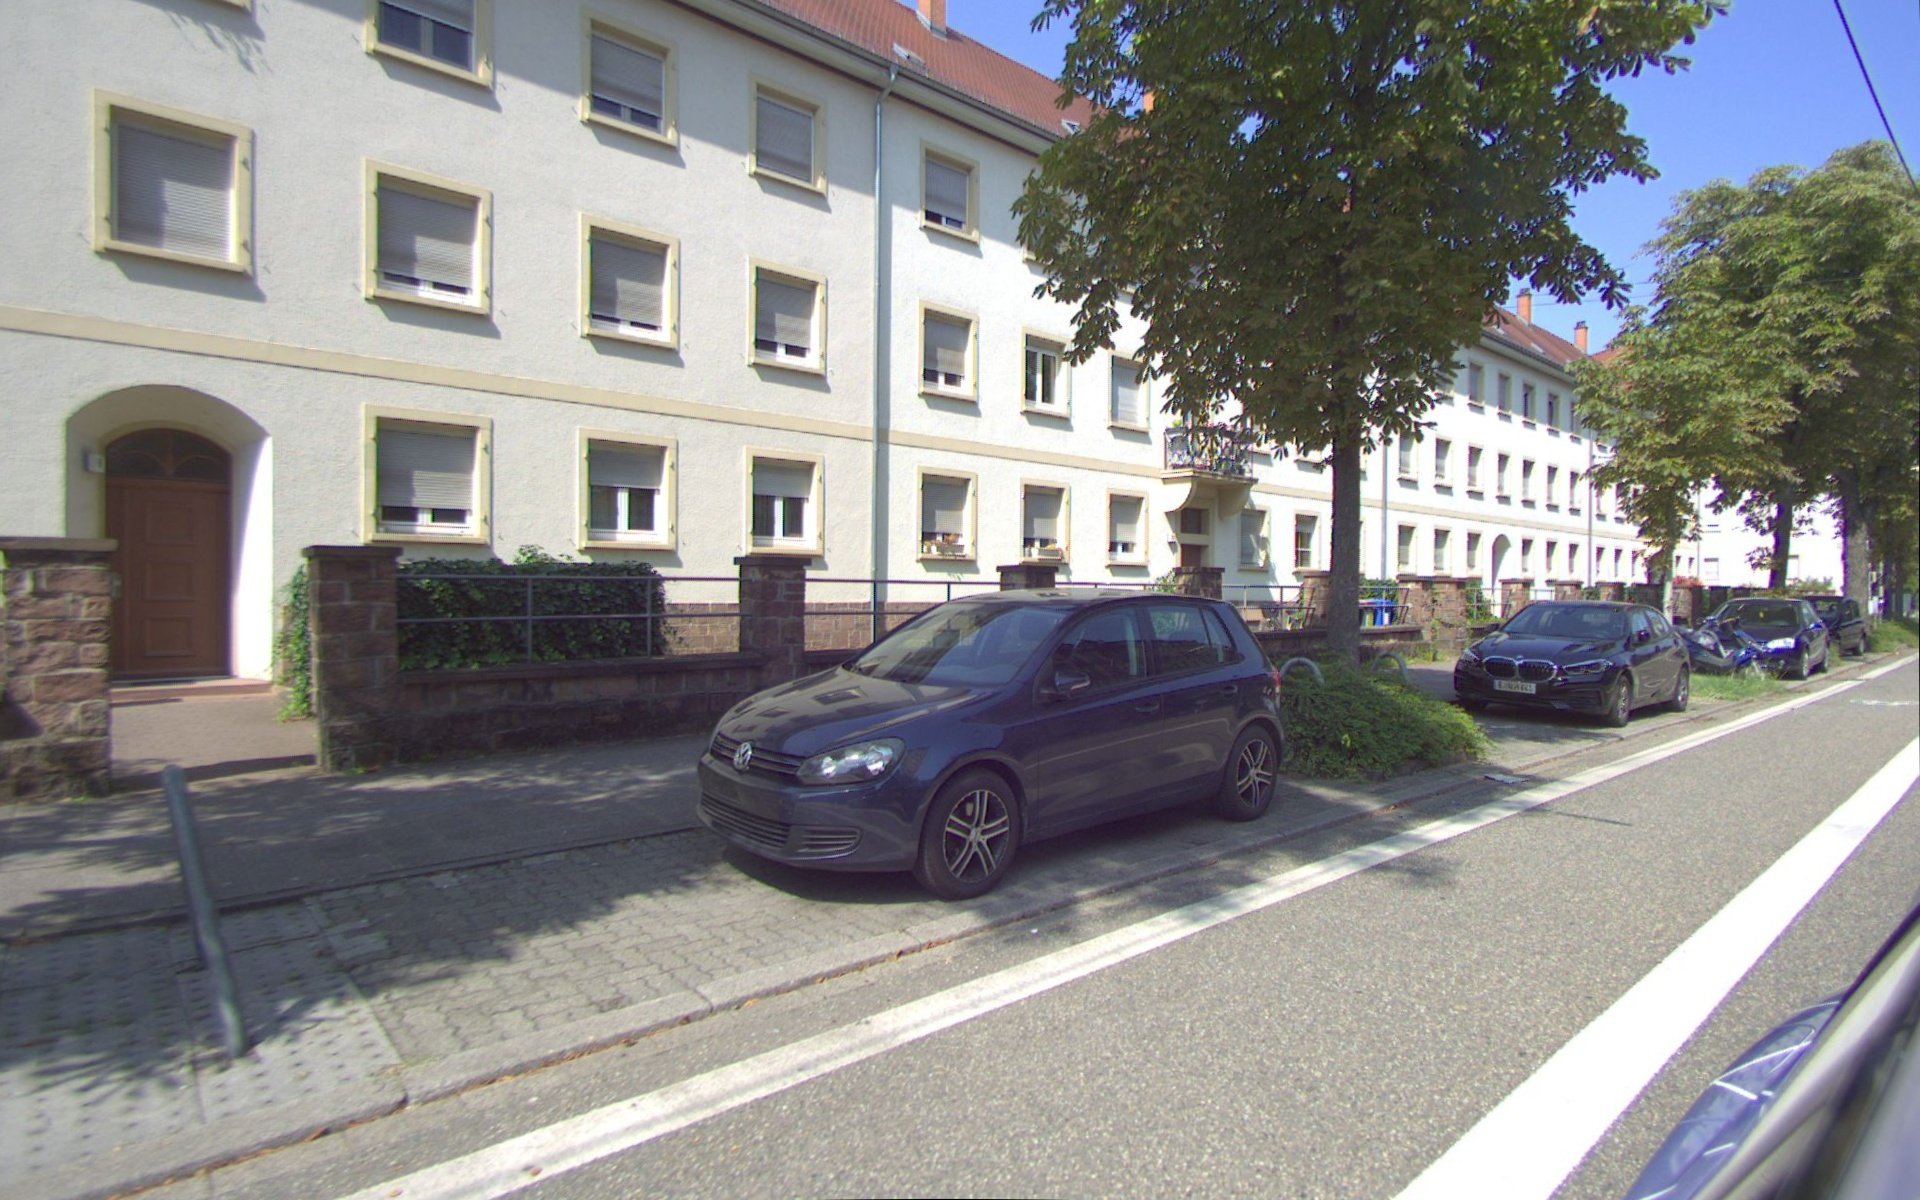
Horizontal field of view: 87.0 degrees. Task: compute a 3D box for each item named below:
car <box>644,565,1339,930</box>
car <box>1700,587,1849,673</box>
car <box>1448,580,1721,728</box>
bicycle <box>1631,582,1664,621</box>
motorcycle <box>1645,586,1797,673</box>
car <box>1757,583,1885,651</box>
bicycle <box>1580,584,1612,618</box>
[{"bbox_3d":[0.471,0.570,6.256,4.312,1.496,1.758,-1,1,-42],"label":"car"},{"bbox_3d":[16.171,0.515,20.020,3.969,1.495,1.620,-1,2,-41],"label":"car"},{"bbox_3d":[8.224,0.545,13.163,4.380,1.495,1.759,-1,5,-41],"label":"car"},{"bbox_3d":[21.419,0.038,31.517,1.688,1.175,0.468,-1,1,-43],"label":"bicycle"},{"bbox_3d":[13.108,0.470,17.478,0.769,1.385,2.005,0,1,-44],"label":"motorcycle"},{"bbox_3d":[21.765,0.377,25.565,3.432,1.549,1.623,0,2,-35],"label":"car"},{"bbox_3d":[20.780,0.018,33.061,1.688,1.107,0.468,-1,1,-43],"label":"bicycle"}]
